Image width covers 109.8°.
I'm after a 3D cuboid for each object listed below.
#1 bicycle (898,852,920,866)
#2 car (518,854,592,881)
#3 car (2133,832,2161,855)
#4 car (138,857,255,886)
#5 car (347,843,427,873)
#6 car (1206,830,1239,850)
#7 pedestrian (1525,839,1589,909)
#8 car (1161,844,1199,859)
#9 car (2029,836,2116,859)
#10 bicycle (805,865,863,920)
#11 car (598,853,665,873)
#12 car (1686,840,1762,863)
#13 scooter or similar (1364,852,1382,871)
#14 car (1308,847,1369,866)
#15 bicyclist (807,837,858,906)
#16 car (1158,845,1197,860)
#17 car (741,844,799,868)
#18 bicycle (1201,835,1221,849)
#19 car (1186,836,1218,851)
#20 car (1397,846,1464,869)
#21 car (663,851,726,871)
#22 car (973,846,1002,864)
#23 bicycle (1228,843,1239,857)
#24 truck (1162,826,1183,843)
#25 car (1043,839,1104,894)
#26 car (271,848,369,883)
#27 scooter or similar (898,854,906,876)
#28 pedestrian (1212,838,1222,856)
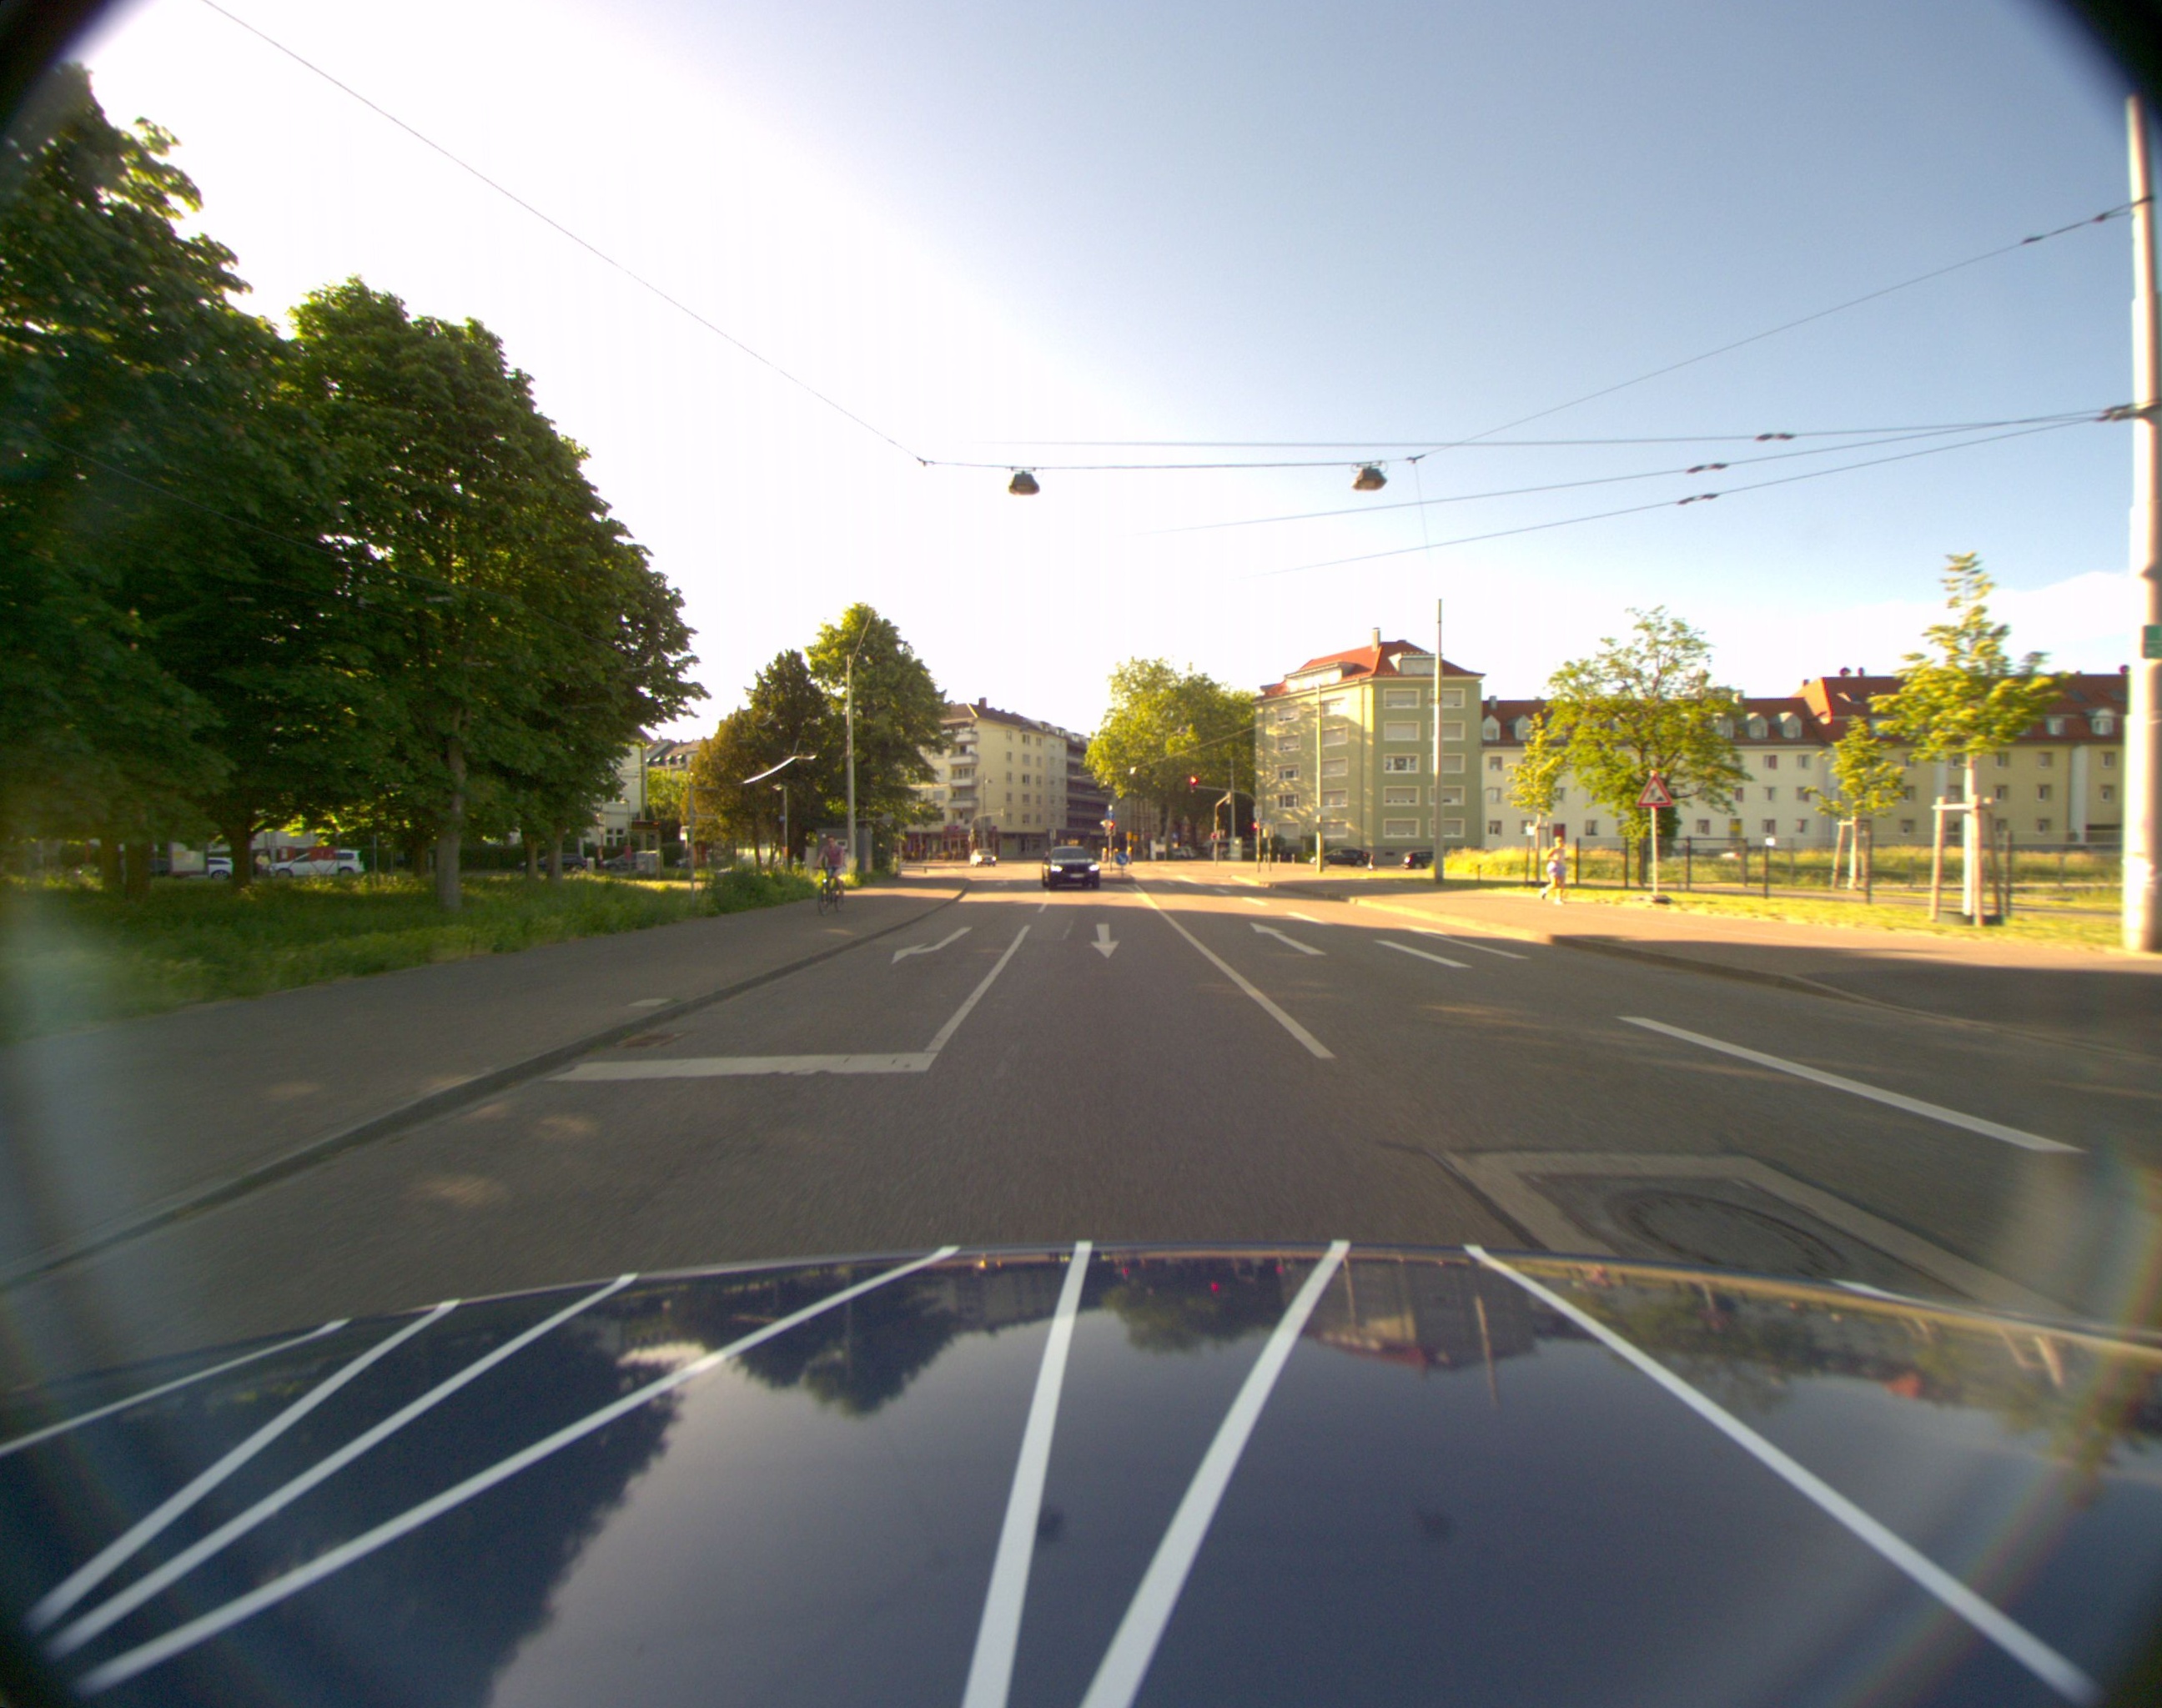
[{"bbox_3d":[-14.027,0.376,62.014,0.626,1.120,1.809,-1,0,34],"label":"bicycle"},{"bbox_3d":[-39.967,0.988,57.774,1.994,1.707,4.193,0,4,45],"label":"car"},{"bbox_3d":[76.171,-0.724,52.758,3.900,1.520,1.701,0,-2,-2],"label":"car"},{"bbox_3d":[-53.458,1.044,46.053,4.385,1.420,1.686,-5,3,-44],"label":"car"},{"bbox_3d":[-51.391,0.248,56.334,1.994,1.908,4.193,0,4,45],"label":"car"},{"bbox_3d":[20.845,-2.061,112.078,4.411,2.612,1.971,-1,3,22],"label":"car"},{"bbox_3d":[11.579,0.468,18.516,0.834,1.620,1.181,-2,1,4],"label":"pedestrian"},{"bbox_3d":[11.904,-0.328,91.329,4.140,1.631,1.776,-1,3,22],"label":"car"},{"bbox_3d":[69.055,-0.463,52.949,3.900,1.520,1.701,0,-2,-2],"label":"car"},{"bbox_3d":[-5.871,0.884,18.167,0.720,1.185,2.001,0,1,1],"label":"bicycle"},{"bbox_3d":[-36.086,0.690,61.087,1.994,1.337,4.193,0,3,45],"label":"car"},{"bbox_3d":[45.273,-0.155,53.542,3.900,1.520,1.701,0,-2,-2],"label":"car"},{"bbox_3d":[18.747,0.461,48.752,0.593,1.137,1.270,1,-2,42],"label":"scooter or similar"},{"bbox_3d":[20.634,0.196,60.987,4.204,1.485,1.942,0,0,2],"label":"car"},{"bbox_3d":[-5.913,0.404,18.118,0.813,1.590,1.149,0,1,0],"label":"bicyclist"},{"bbox_3d":[11.298,-0.199,89.129,4.140,1.631,1.776,-1,3,22],"label":"car"},{"bbox_3d":[-27.772,0.165,67.898,1.994,1.847,4.256,0,4,45],"label":"car"},{"bbox_3d":[14.175,-1.288,82.684,2.047,1.454,0.727,2,5,30],"label":"bicycle"},{"bbox_3d":[16.305,-1.385,102.346,3.992,1.827,1.818,-1,3,22],"label":"car"},{"bbox_3d":[24.610,0.264,53.602,3.900,1.520,1.701,0,-2,-2],"label":"car"},{"bbox_3d":[-32.501,0.556,63.948,1.994,1.340,4.193,0,3,45],"label":"car"},{"bbox_3d":[-7.947,0.088,64.286,1.704,1.432,3.640,-2,0,-18],"label":"car"},{"bbox_3d":[16.036,-0.463,79.866,0.774,1.373,2.051,0,4,2],"label":"bicycle"},{"bbox_3d":[17.835,-3.785,147.678,2.339,2.956,8.040,-1,3,20],"label":"truck"},{"bbox_3d":[-0.391,0.416,30.622,1.942,1.923,4.519,-3,2,-7],"label":"car"},{"bbox_3d":[-49.541,0.708,49.563,4.340,1.953,1.904,-5,3,-44],"label":"car"},{"bbox_3d":[-10.221,0.615,43.496,0.385,1.211,1.831,1,-1,-12],"label":"scooter or similar"},{"bbox_3d":[14.997,-0.777,83.893,0.695,1.953,0.929,-1,3,31],"label":"pedestrian"}]
